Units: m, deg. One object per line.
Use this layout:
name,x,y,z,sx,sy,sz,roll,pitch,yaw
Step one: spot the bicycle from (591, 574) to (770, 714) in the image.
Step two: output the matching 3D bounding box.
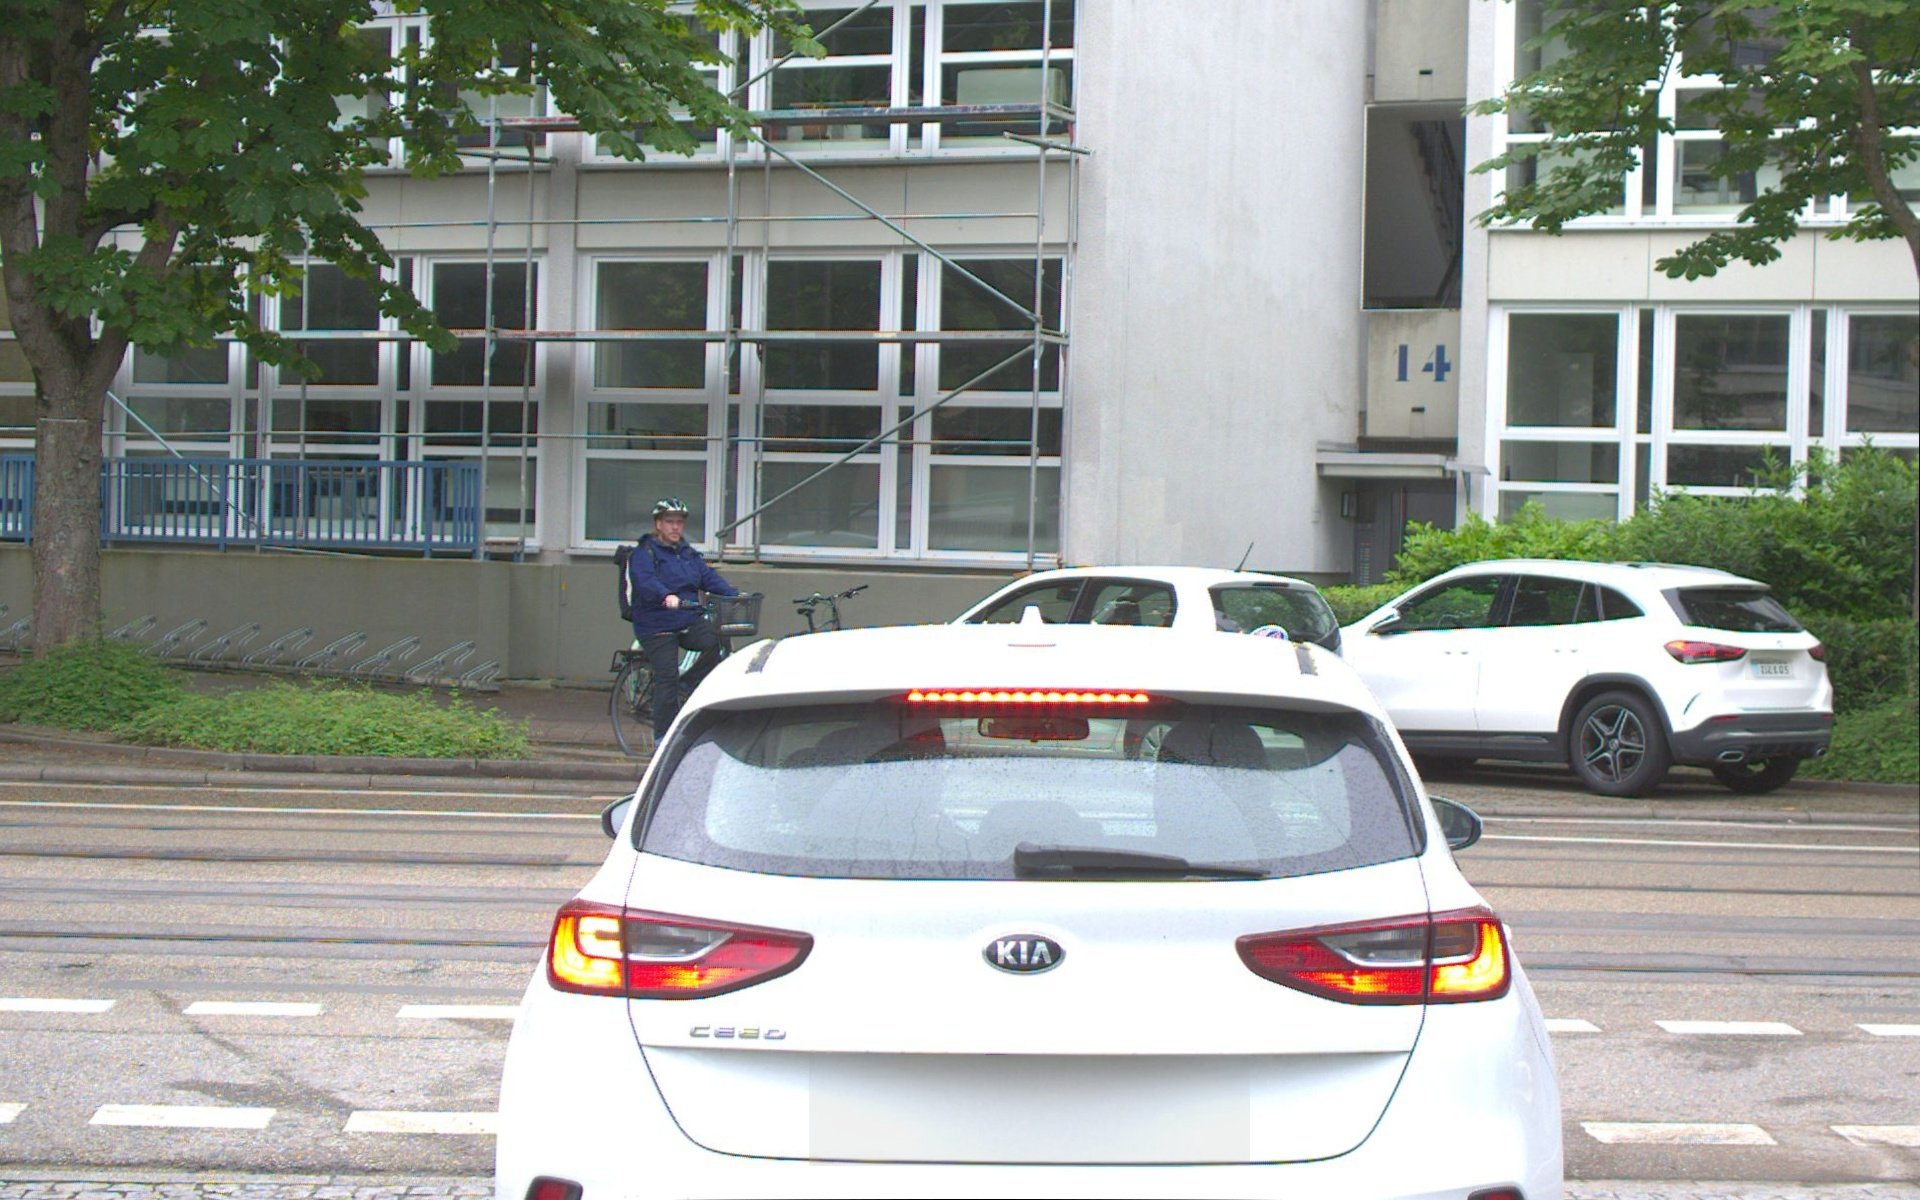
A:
bicycle,-2.420,0.362,30.045,0.645,1.071,2.310,2,3,20

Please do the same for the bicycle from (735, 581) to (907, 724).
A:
bicycle,-1.172,0.430,29.557,0.645,1.071,2.310,2,3,20

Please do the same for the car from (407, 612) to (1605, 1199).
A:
car,0.152,0.790,7.106,1.775,1.428,3.978,1,-1,3

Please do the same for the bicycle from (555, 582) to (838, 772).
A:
bicycle,-1.789,0.494,23.133,1.914,1.170,0.819,3,1,45

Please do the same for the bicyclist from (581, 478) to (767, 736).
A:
bicyclist,-1.938,0.040,23.288,0.832,1.692,0.896,1,1,-45

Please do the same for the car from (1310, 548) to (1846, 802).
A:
car,4.274,0.468,24.062,1.552,1.612,3.406,0,1,-44

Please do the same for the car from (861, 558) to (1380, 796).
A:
car,1.048,0.478,23.619,1.552,1.468,3.406,0,1,-44
